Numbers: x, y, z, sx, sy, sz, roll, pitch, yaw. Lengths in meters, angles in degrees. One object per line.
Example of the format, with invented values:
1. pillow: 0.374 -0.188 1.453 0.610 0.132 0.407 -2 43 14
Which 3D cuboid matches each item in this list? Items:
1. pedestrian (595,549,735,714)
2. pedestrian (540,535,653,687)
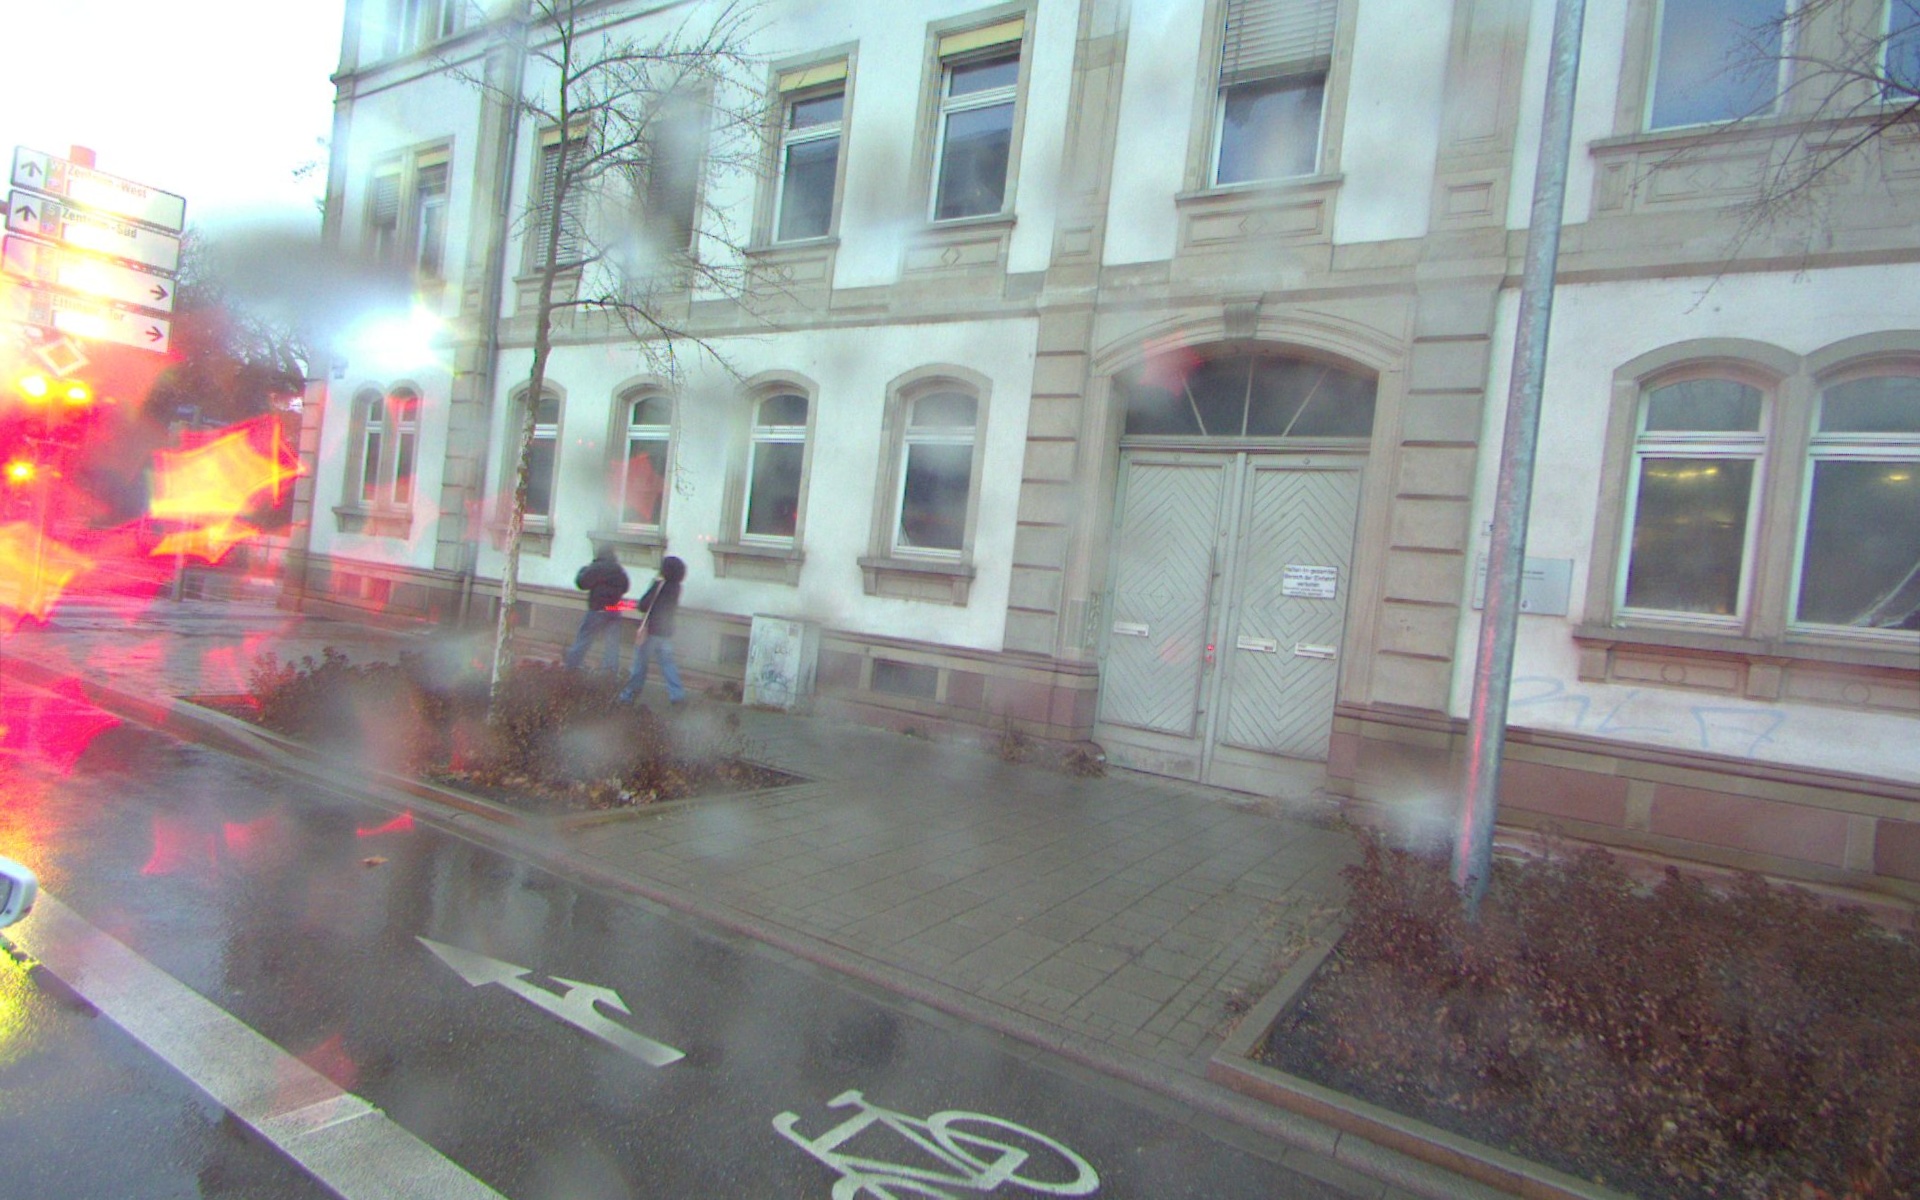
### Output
1. pedestrian: -3.055 0.330 10.455 0.914 1.564 0.869 7 1 32
2. pedestrian: -4.310 0.149 11.956 0.695 1.694 0.868 7 1 34
